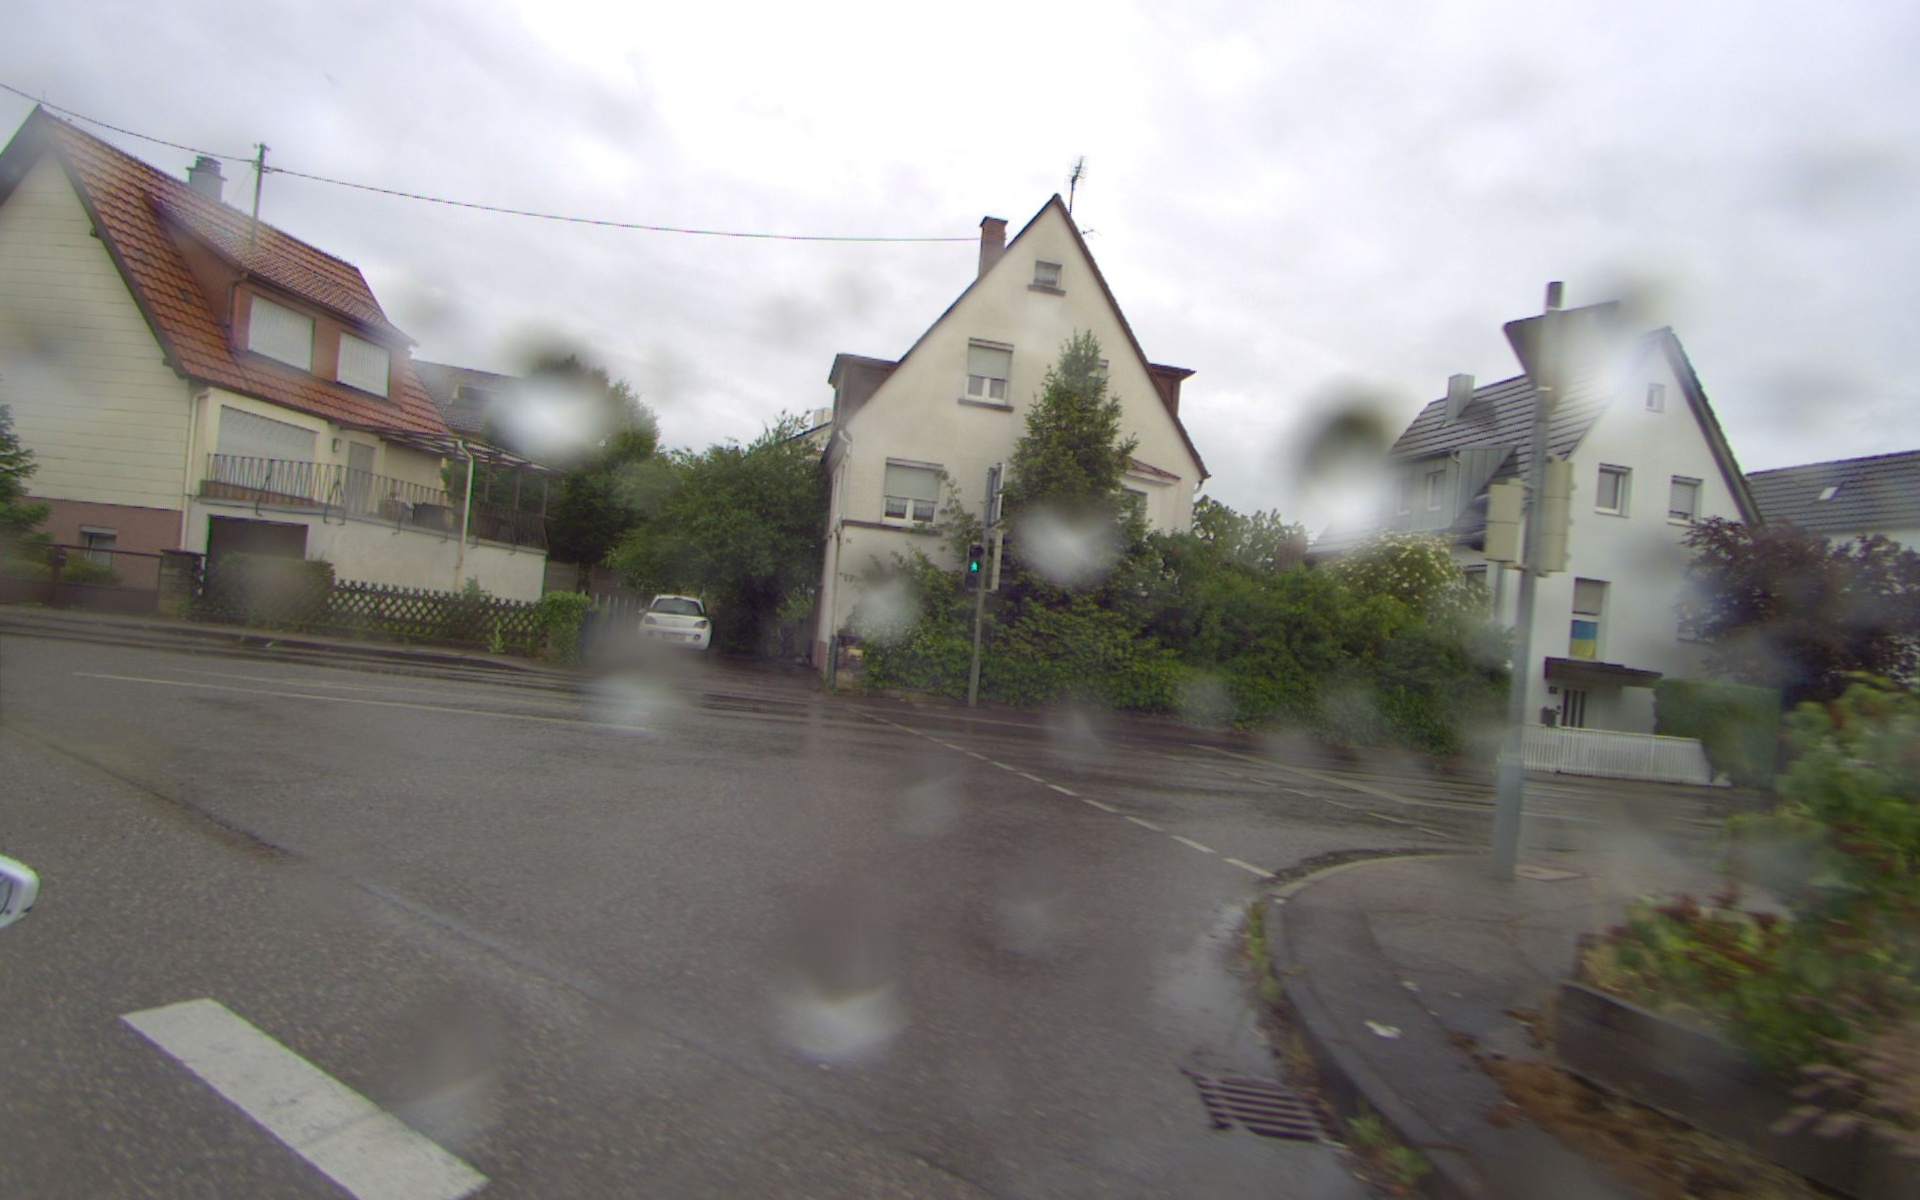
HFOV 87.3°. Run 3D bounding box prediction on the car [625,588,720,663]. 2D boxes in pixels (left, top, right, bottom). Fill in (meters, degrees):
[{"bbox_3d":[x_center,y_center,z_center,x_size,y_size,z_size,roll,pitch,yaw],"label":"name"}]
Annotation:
[{"bbox_3d":[-7.238,0.587,25.089,1.825,1.514,3.725,7,-1,-21],"label":"car"}]
